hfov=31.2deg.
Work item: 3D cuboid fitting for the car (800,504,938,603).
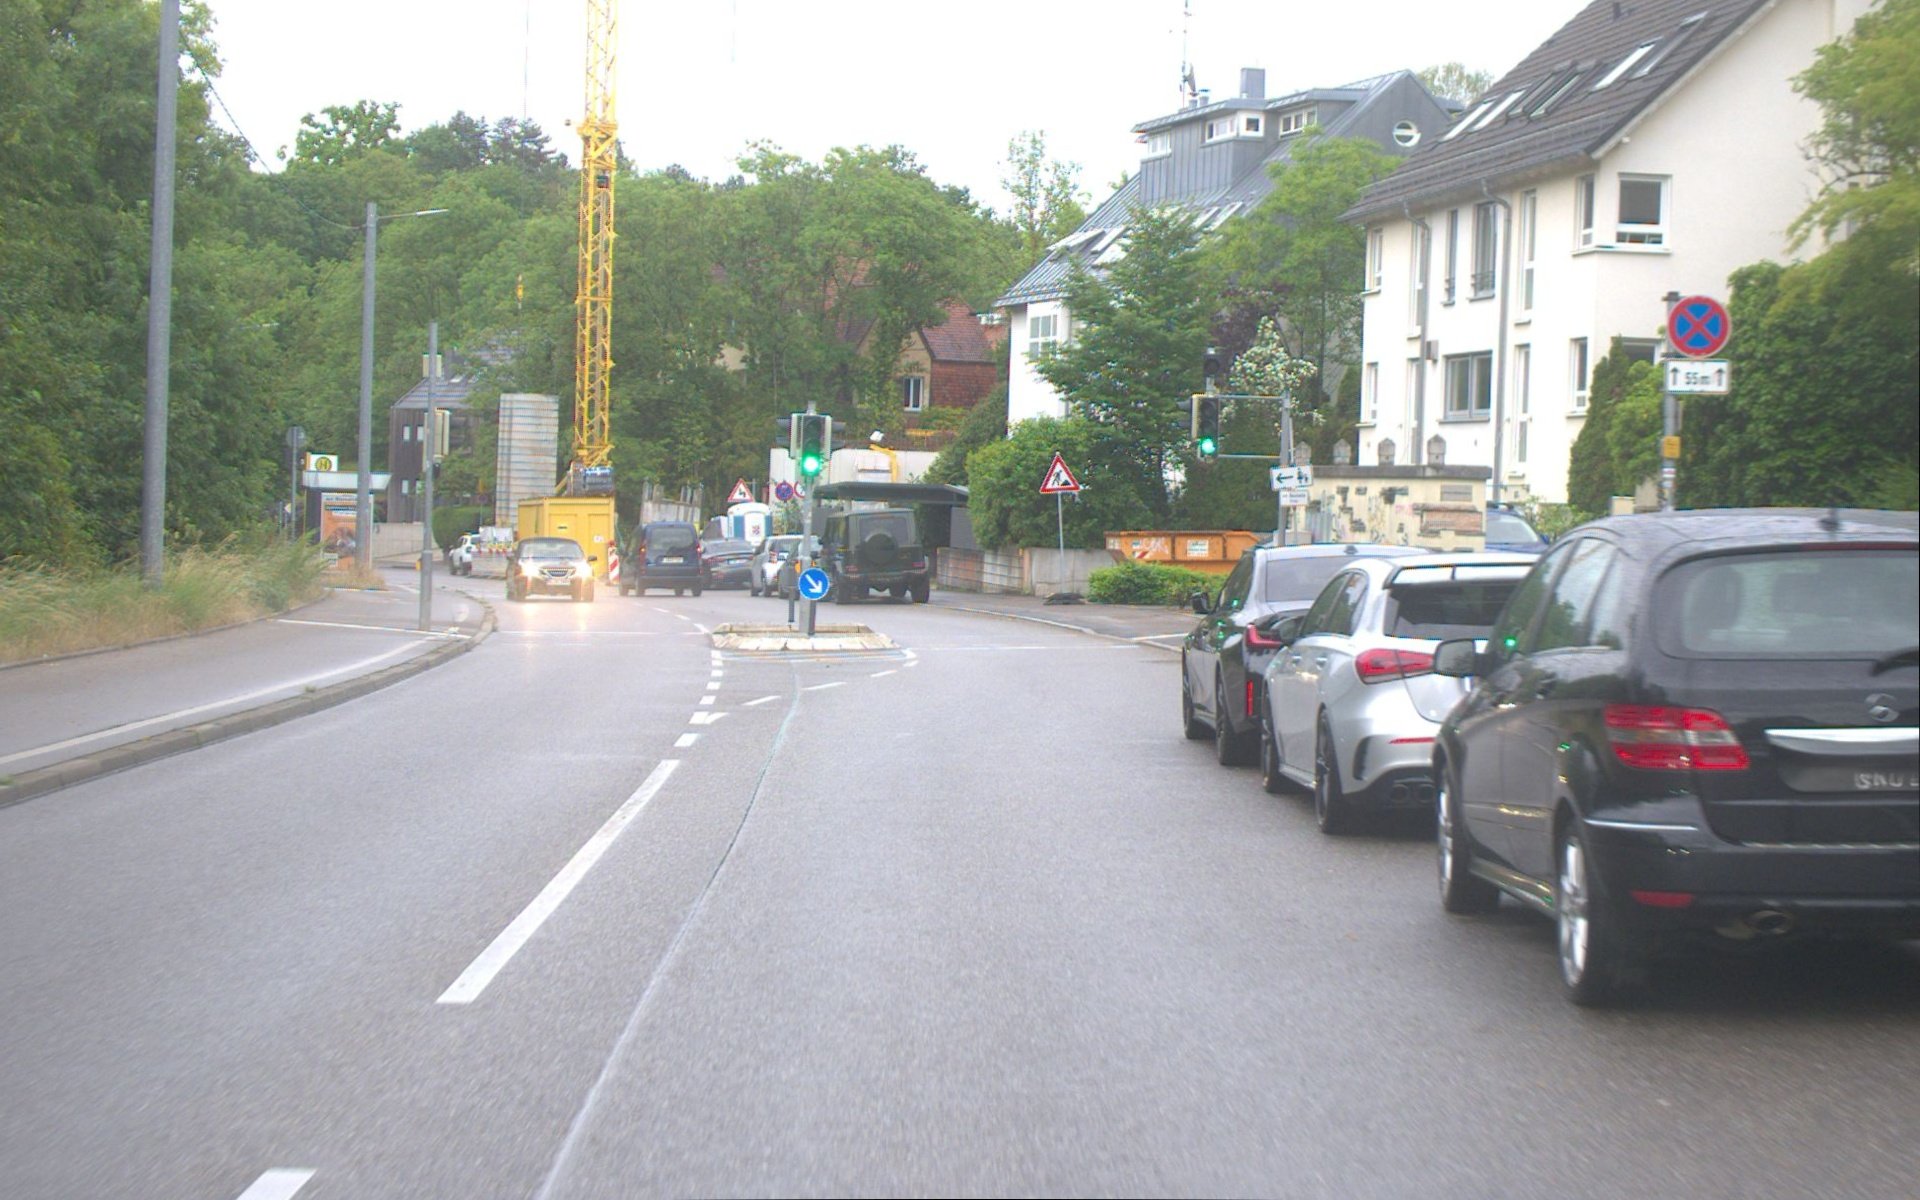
[{"bbox_3d":[-1.990,-0.998,73.686,1.993,2.007,4.958,-2,1,-12],"label":"car"}]

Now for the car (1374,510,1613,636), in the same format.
[{"bbox_3d":[7.454,-0.387,48.502,1.931,1.590,4.343,3,0,-10],"label":"car"}]

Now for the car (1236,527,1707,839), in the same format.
[{"bbox_3d":[2.652,0.396,18.844,1.793,1.481,4.496,1,0,-1],"label":"car"}]

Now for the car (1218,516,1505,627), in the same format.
[{"bbox_3d":[6.739,-0.477,57.934,4.326,1.590,1.993,3,0,-9],"label":"car"}]

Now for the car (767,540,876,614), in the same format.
[{"bbox_3d":[-3.202,-0.542,78.624,1.931,1.590,4.396,-2,1,-9],"label":"car"}]

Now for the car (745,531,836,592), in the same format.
[{"bbox_3d":[-4.109,-0.939,83.112,1.672,1.452,3.387,0,1,-12],"label":"car"}]

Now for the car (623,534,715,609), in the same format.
[{"bbox_3d":[-7.264,-0.727,85.471,1.931,1.745,4.001,0,2,-10],"label":"car"}]

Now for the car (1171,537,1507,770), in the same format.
[{"bbox_3d":[2.518,0.321,23.847,1.751,1.438,4.601,1,0,-1],"label":"car"}]

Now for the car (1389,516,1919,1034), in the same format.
[{"bbox_3d":[2.753,0.474,12.636,1.730,1.562,4.522,0,1,-1],"label":"car"}]

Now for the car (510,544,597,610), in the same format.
[{"bbox_3d":[-9.160,-0.535,77.764,1.743,1.455,4.415,0,1,-4],"label":"car"}]

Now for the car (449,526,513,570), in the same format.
[{"bbox_3d":[-19.225,-2.108,137.921,1.744,1.700,4.503,-1,2,-18],"label":"car"}]

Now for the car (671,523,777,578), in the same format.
[{"bbox_3d":[-6.682,-1.414,96.870,1.931,1.417,4.839,2,1,-17],"label":"car"}]
